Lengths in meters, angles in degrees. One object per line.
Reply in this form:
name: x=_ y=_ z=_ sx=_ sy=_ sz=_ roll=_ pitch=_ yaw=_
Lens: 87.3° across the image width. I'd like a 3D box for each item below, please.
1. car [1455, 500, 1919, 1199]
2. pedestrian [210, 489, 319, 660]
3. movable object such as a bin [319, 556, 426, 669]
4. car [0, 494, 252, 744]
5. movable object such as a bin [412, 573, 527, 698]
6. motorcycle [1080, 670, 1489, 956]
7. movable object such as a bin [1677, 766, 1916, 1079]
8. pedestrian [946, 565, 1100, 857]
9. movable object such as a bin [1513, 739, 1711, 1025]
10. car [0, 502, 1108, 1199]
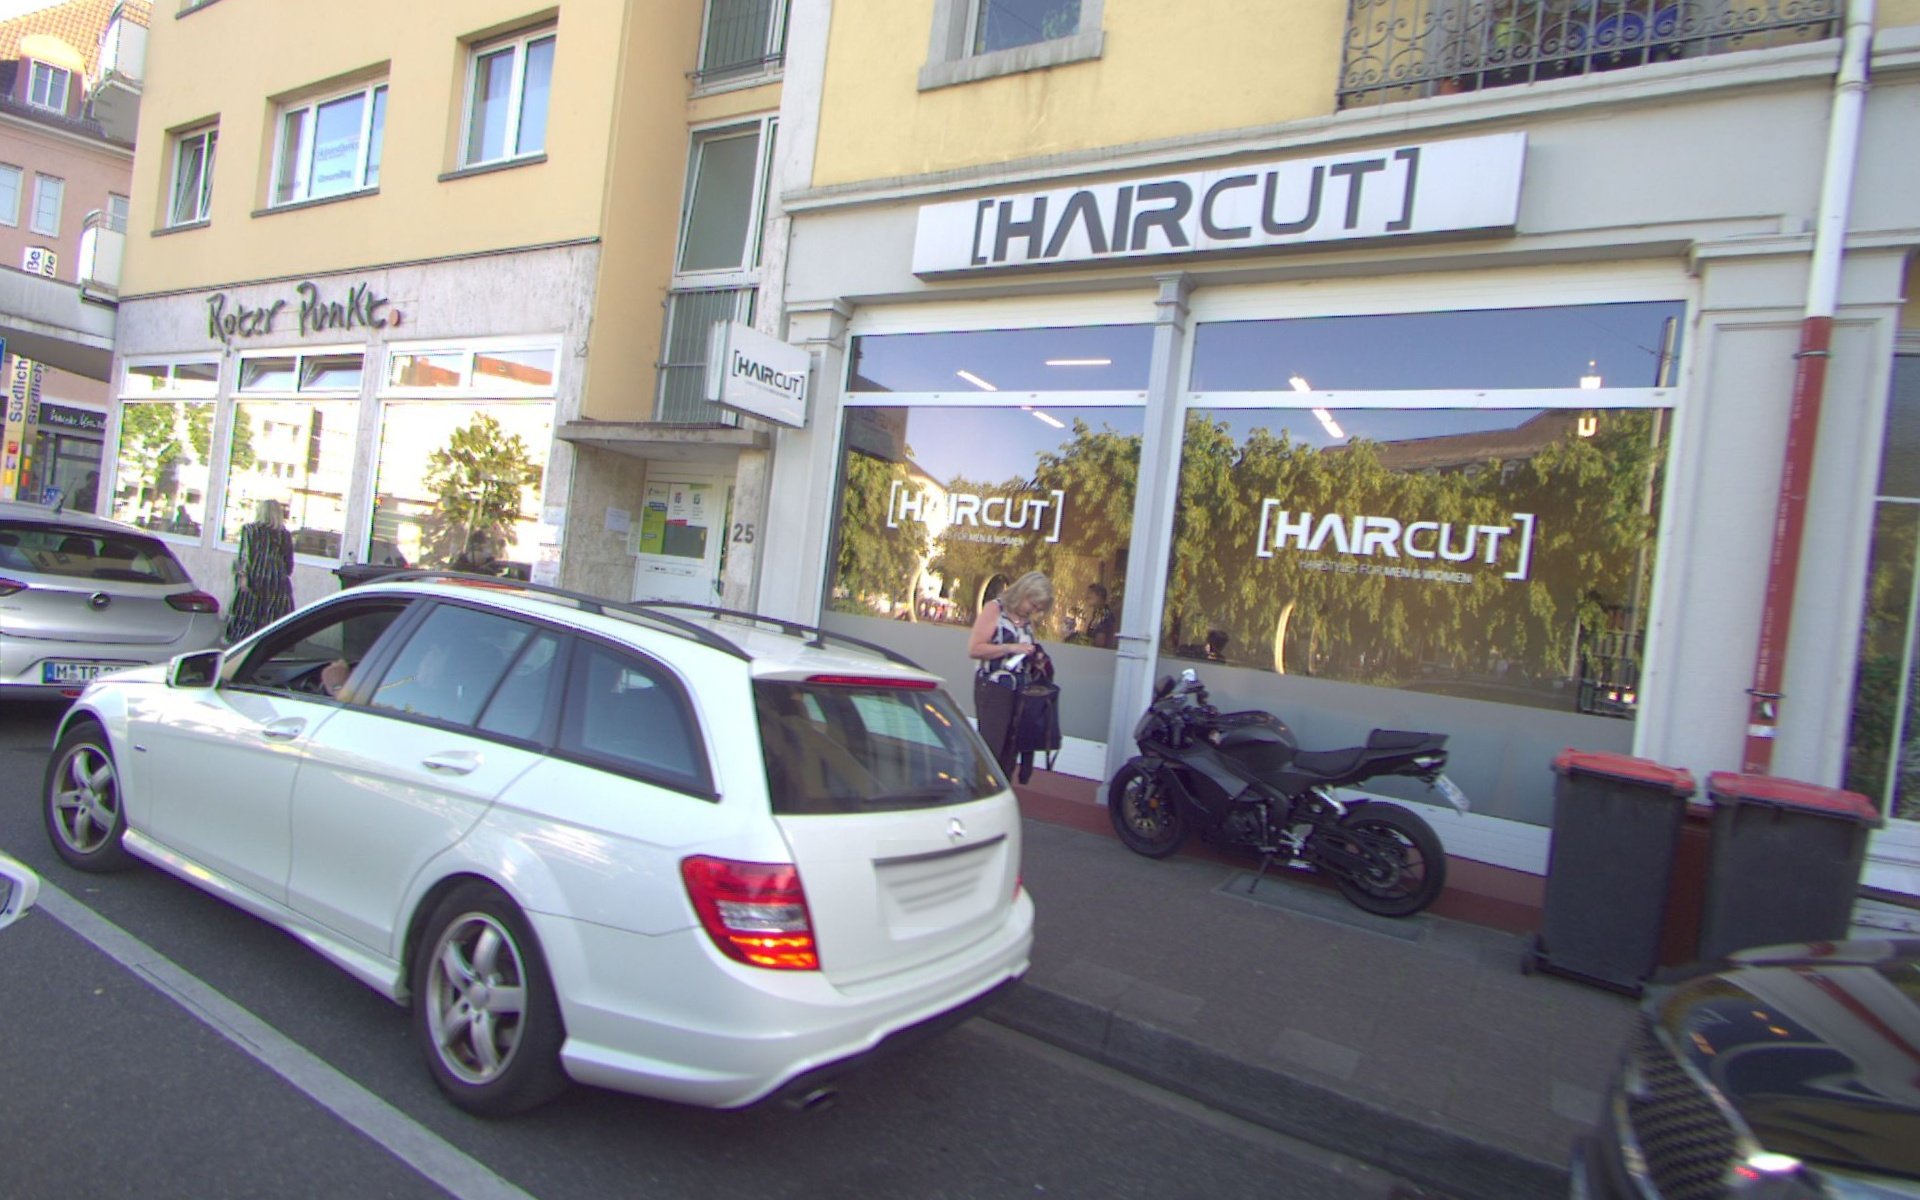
car: x=3.051 y=1.062 z=0.978 sx=4.493 sy=1.757 sz=1.759 roll=7 pitch=-1 yaw=28
pedestrian: x=-7.077 y=-0.249 z=10.243 sx=0.618 sy=1.654 sz=0.661 roll=7 pitch=2 yaw=36
movable object such as a bin: x=-6.114 y=0.131 z=10.487 sx=0.609 sy=1.082 sz=0.703 roll=7 pitch=3 yaw=31
car: x=-7.065 y=-0.054 z=7.205 sx=4.009 sy=1.444 sz=1.673 roll=7 pitch=-1 yaw=31
movable object such as a bin: x=-4.655 y=0.330 z=9.559 sx=0.609 sy=1.082 sz=0.703 roll=7 pitch=3 yaw=31
motorcycle: x=1.735 y=1.077 z=5.562 sx=1.975 sy=1.105 sz=0.550 roll=7 pitch=1 yaw=31
movable object such as a bin: x=3.525 y=1.313 z=4.306 sx=0.609 sy=1.039 sz=0.667 roll=7 pitch=3 yaw=34
pedestrian: x=0.403 y=0.660 z=6.245 sx=0.523 sy=1.654 sz=0.697 roll=7 pitch=2 yaw=29
movable object such as a bin: x=2.996 y=1.243 z=4.645 sx=0.609 sy=1.055 sz=0.659 roll=8 pitch=3 yaw=34
car: x=-1.852 y=0.599 z=4.048 sx=4.389 sy=1.464 sz=1.741 roll=7 pitch=-1 yaw=31
